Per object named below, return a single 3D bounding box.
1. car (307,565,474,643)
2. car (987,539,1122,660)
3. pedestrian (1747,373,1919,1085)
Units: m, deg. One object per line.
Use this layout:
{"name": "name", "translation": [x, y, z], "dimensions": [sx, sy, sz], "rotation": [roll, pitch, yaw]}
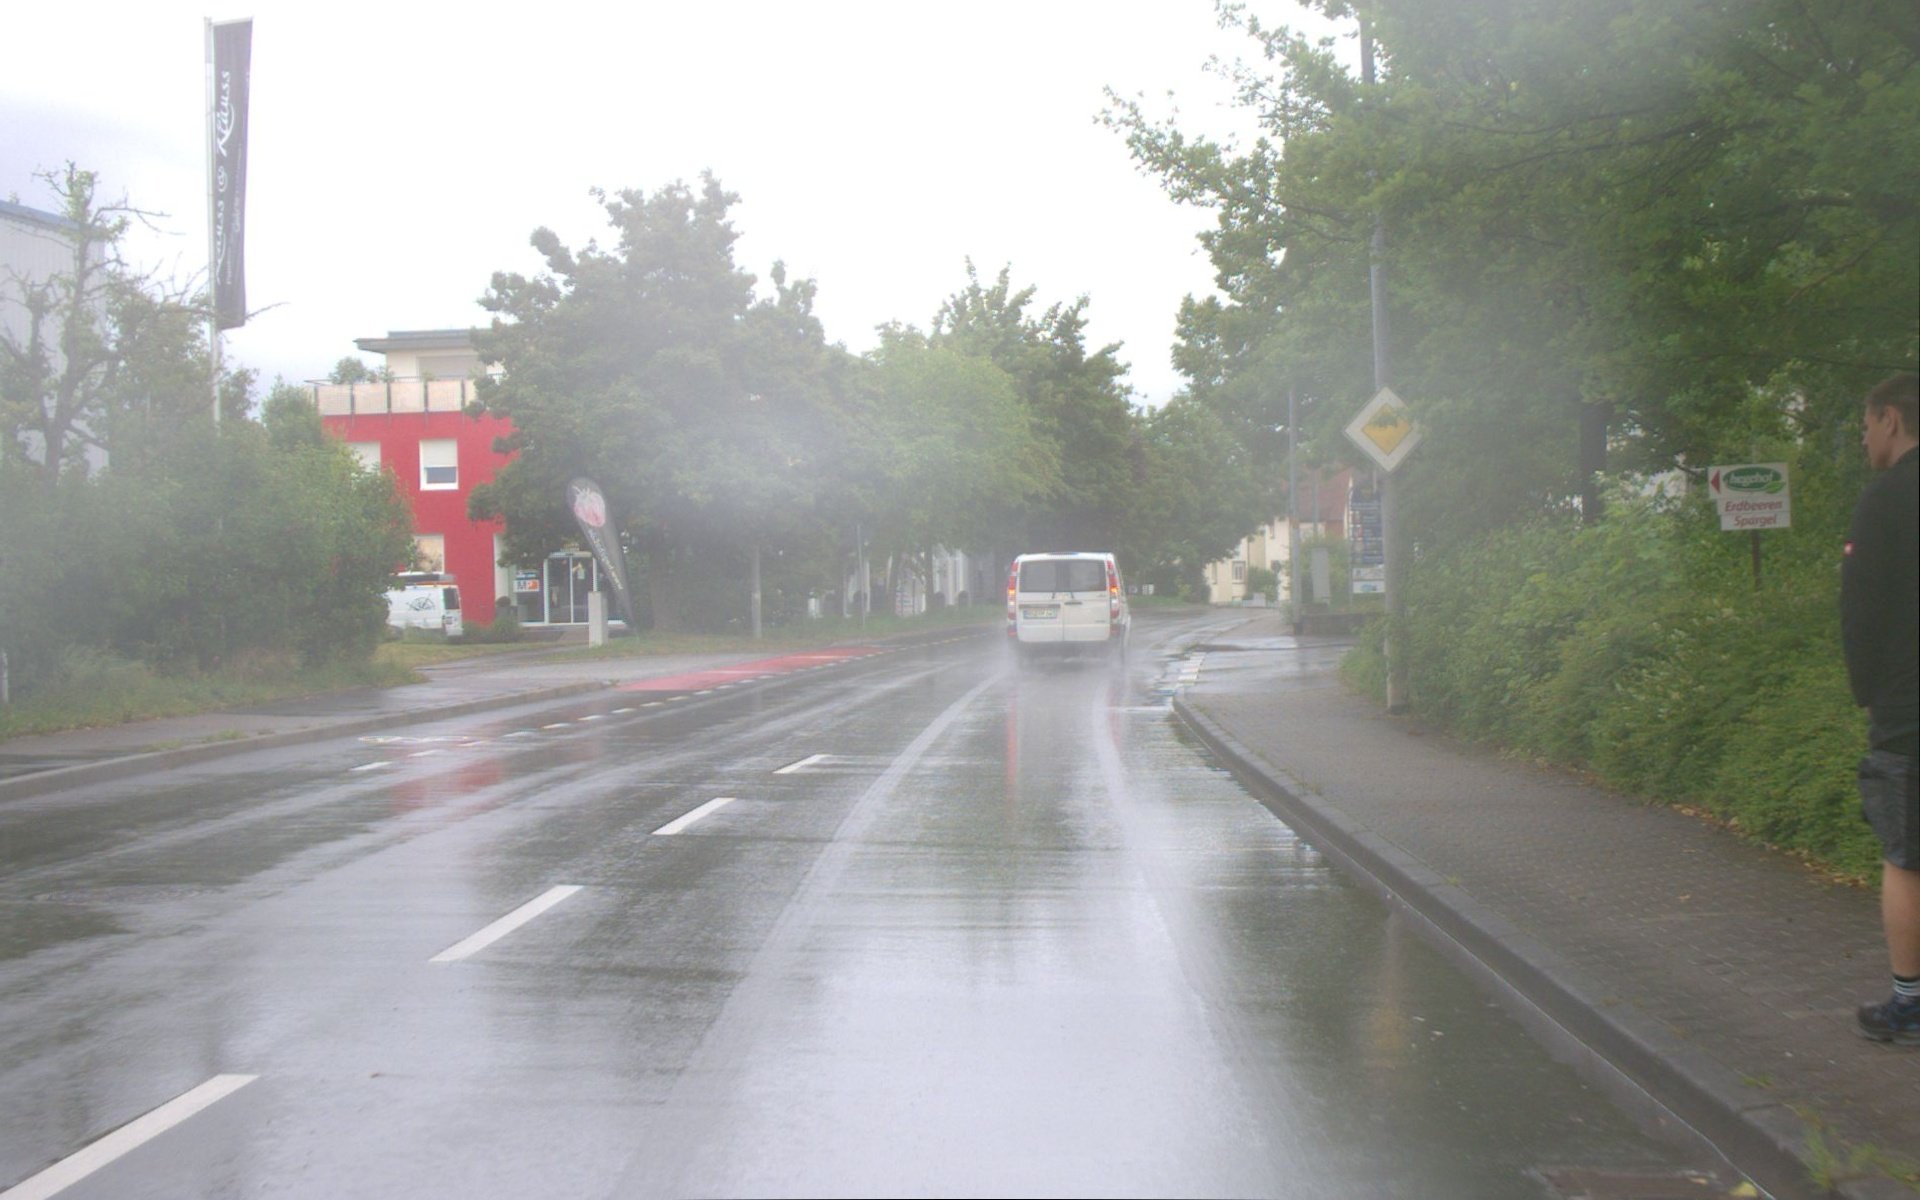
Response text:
{"name": "car", "translation": [-17.142, 0.097, 103.548], "dimensions": [4.479, 2.302, 2.184], "rotation": [0, 1, 10]}
{"name": "car", "translation": [1.547, -0.054, 56.100], "dimensions": [2.117, 1.881, 4.502], "rotation": [0, 1, 2]}
{"name": "pedestrian", "translation": [2.637, 0.316, 9.311], "dimensions": [0.745, 1.831, 0.890], "rotation": [-2, 1, 0]}
